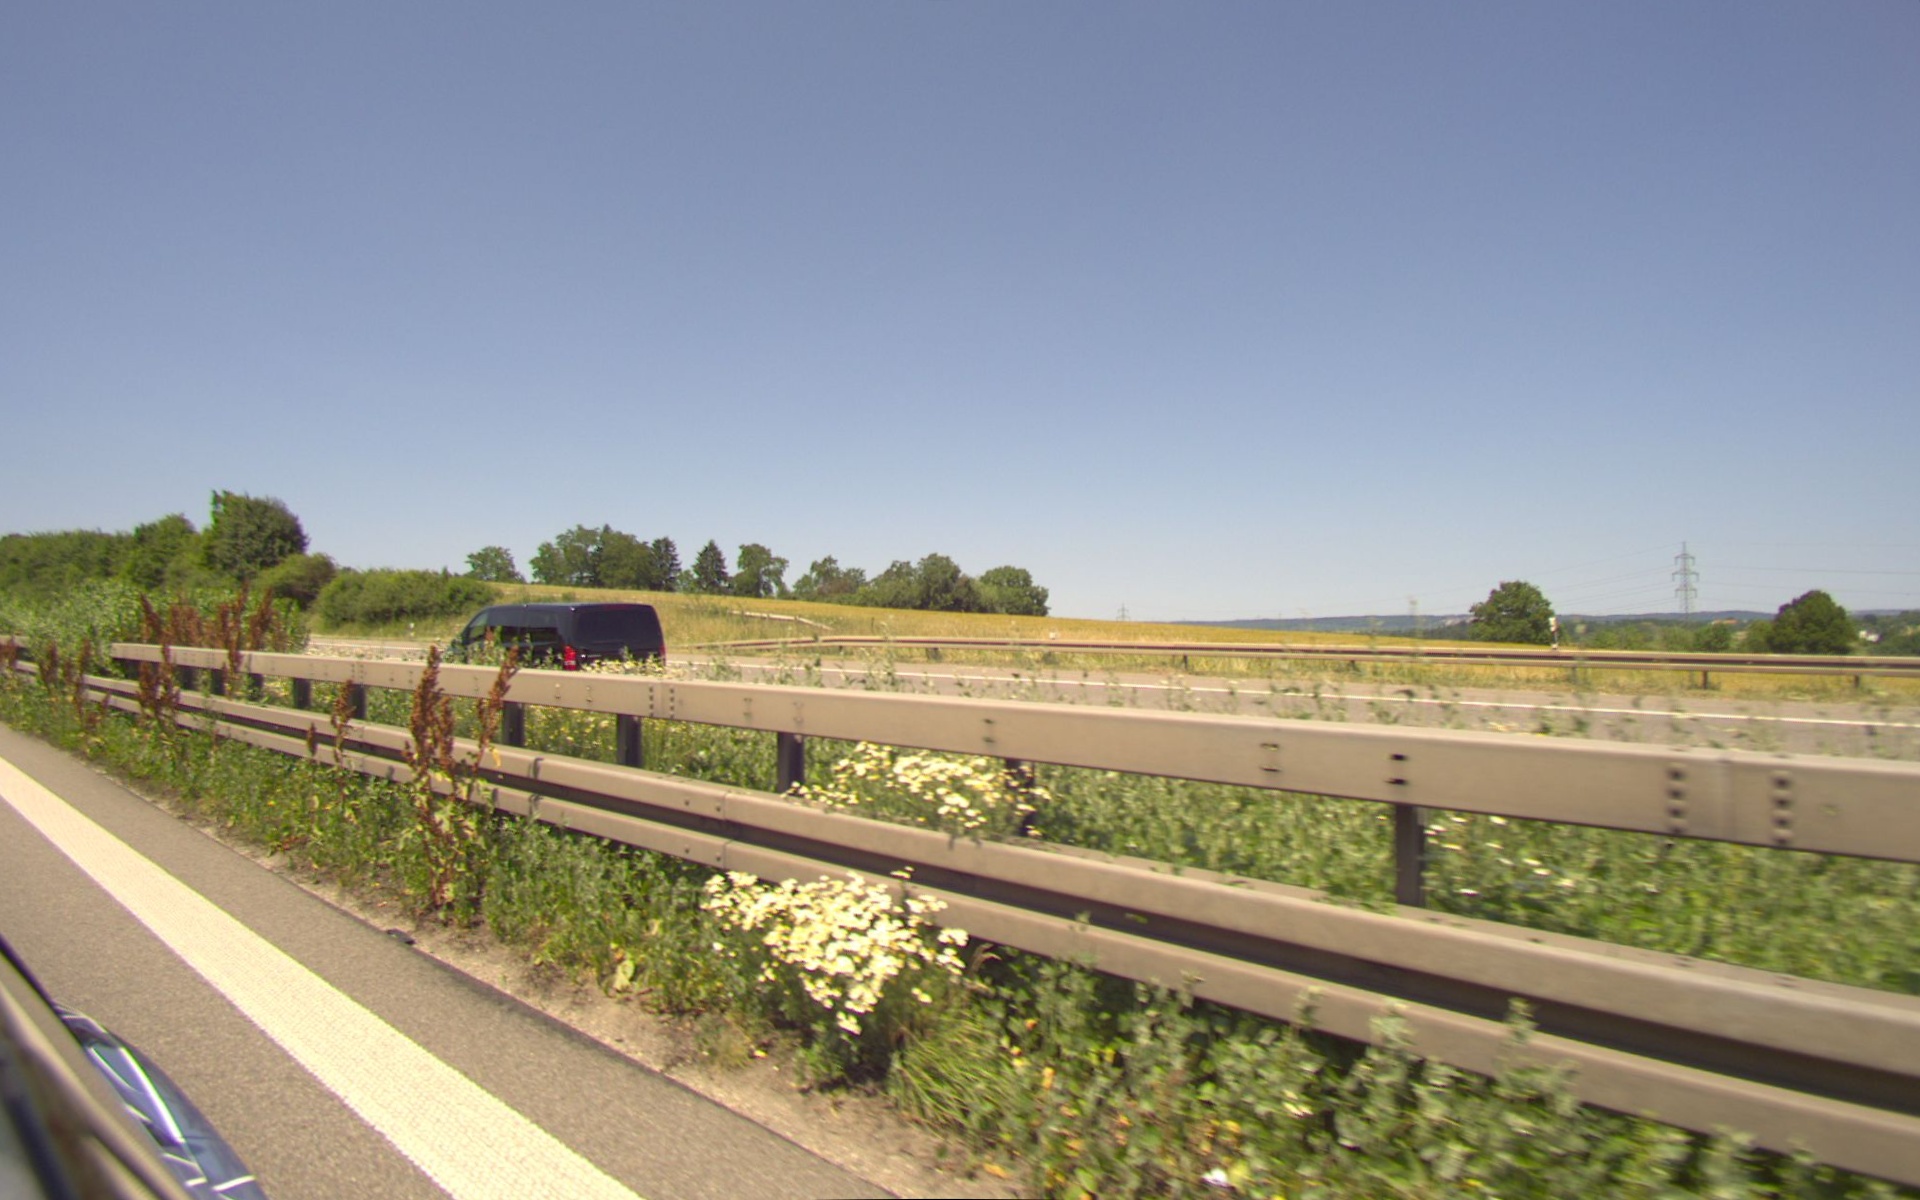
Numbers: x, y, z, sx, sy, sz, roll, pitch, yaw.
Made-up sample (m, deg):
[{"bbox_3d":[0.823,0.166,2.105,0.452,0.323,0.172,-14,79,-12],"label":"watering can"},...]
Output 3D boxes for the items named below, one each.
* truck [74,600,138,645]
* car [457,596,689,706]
[{"bbox_3d":[-49.679,1.294,58.815,5.559,2.506,1.999,-1,-1,40],"label":"truck"},{"bbox_3d":[-6.594,0.800,17.039,4.220,1.600,1.895,-2,-1,41],"label":"car"}]
